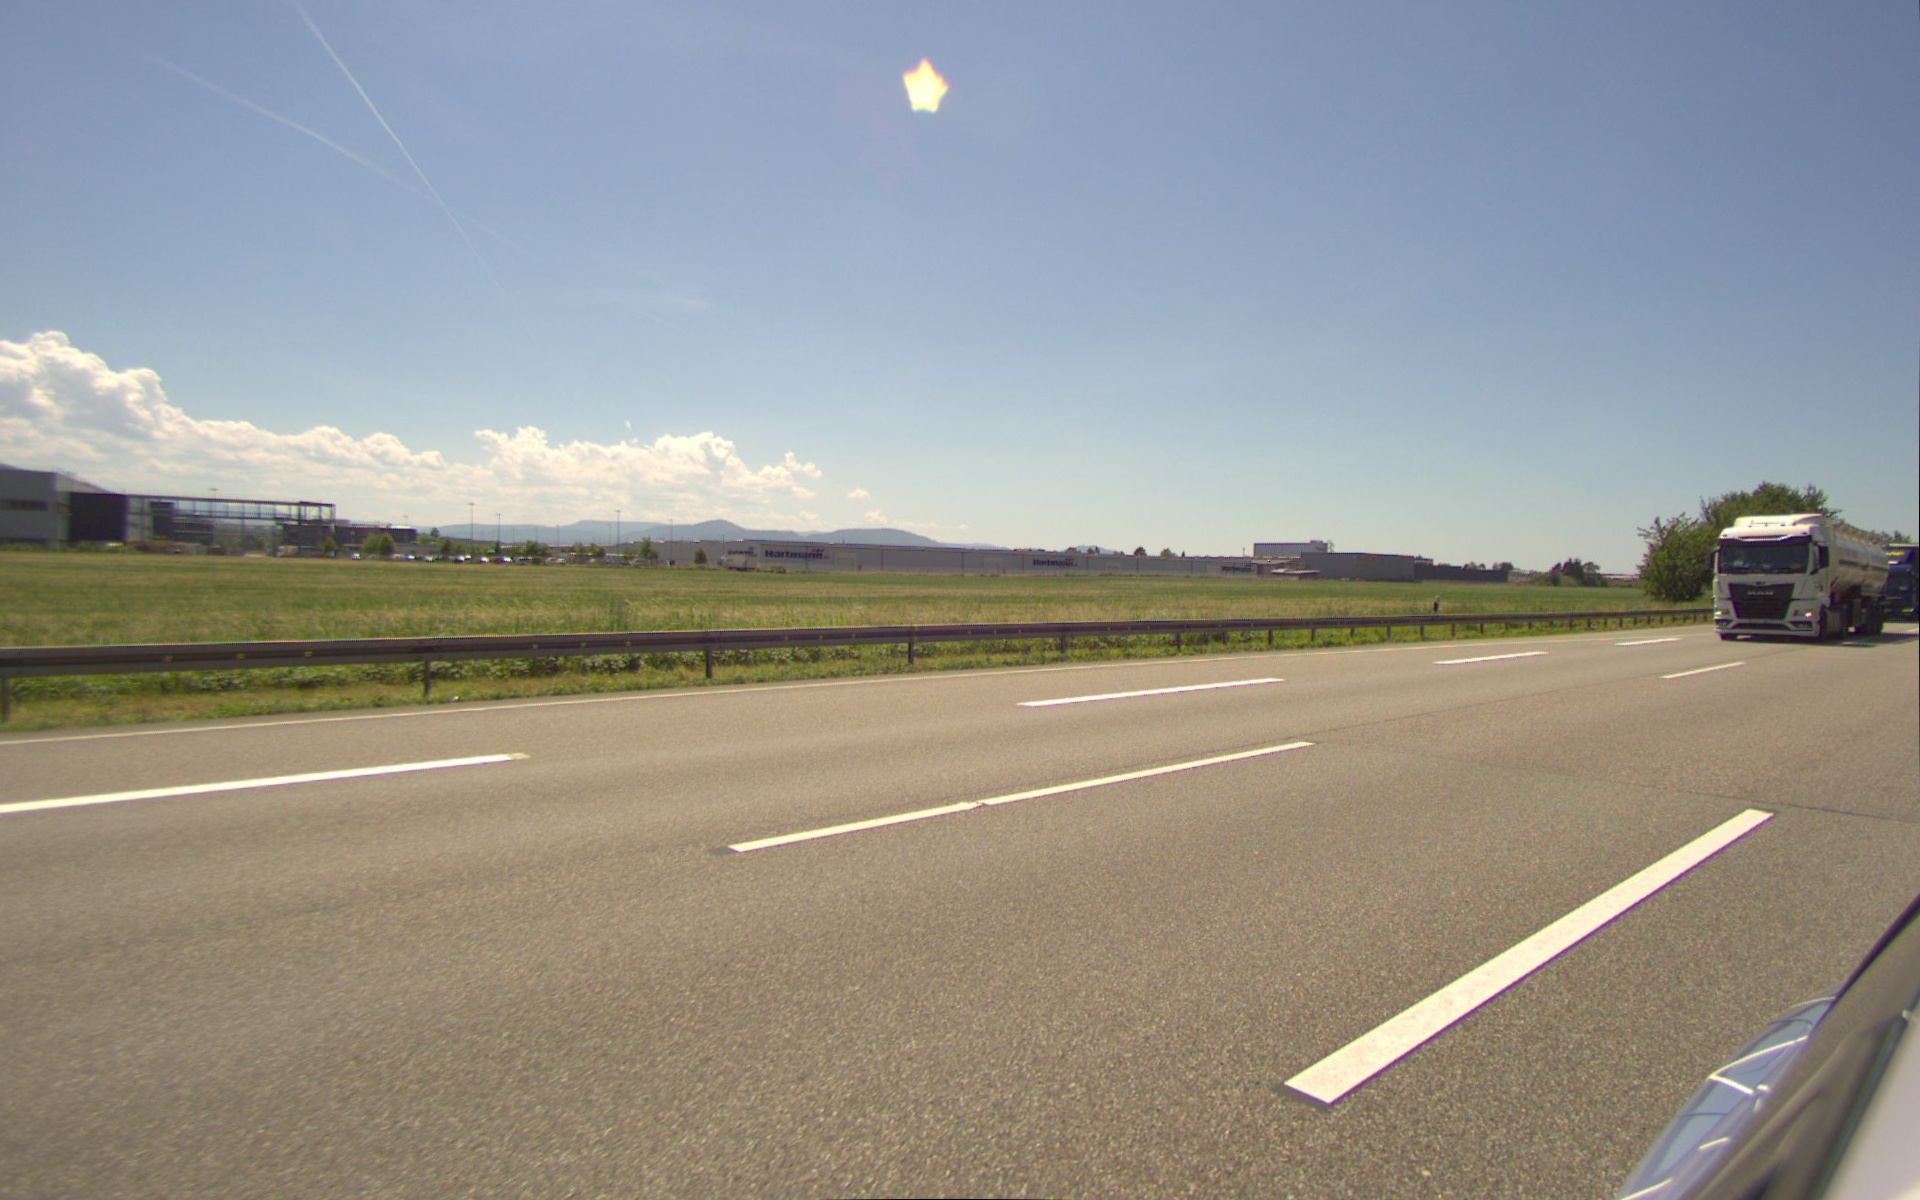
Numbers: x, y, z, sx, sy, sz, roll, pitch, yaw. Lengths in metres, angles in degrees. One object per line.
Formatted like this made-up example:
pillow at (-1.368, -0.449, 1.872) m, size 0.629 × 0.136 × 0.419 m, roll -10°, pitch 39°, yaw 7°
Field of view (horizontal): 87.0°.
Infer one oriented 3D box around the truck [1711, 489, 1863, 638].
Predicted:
truck at (25.824, -1.087, 31.548) m, size 4.912 × 4.257 × 2.796 m, roll 0°, pitch 1°, yaw -41°

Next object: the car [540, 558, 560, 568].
car at (-92.396, -8.313, 228.148) m, size 3.925 × 2.039 × 1.874 m, roll 0°, pitch 1°, yaw -36°

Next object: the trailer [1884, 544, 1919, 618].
trailer at (58.585, -1.097, 61.264) m, size 10.619 × 4.257 × 2.795 m, roll 0°, pitch 1°, yaw -42°

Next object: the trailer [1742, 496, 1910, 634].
trailer at (31.343, -1.119, 36.348) m, size 12.137 × 4.257 × 2.795 m, roll 0°, pitch 1°, yaw -41°

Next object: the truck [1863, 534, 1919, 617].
truck at (52.736, -1.264, 56.039) m, size 10.619 × 4.257 × 2.795 m, roll 0°, pitch 1°, yaw -42°

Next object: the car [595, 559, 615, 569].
car at (-82.416, -8.362, 234.889) m, size 3.925 × 2.039 × 1.874 m, roll 0°, pitch 1°, yaw -36°

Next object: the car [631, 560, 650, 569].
car at (-75.704, -8.399, 239.792) m, size 3.925 × 2.039 × 1.874 m, roll 0°, pitch 1°, yaw -36°
